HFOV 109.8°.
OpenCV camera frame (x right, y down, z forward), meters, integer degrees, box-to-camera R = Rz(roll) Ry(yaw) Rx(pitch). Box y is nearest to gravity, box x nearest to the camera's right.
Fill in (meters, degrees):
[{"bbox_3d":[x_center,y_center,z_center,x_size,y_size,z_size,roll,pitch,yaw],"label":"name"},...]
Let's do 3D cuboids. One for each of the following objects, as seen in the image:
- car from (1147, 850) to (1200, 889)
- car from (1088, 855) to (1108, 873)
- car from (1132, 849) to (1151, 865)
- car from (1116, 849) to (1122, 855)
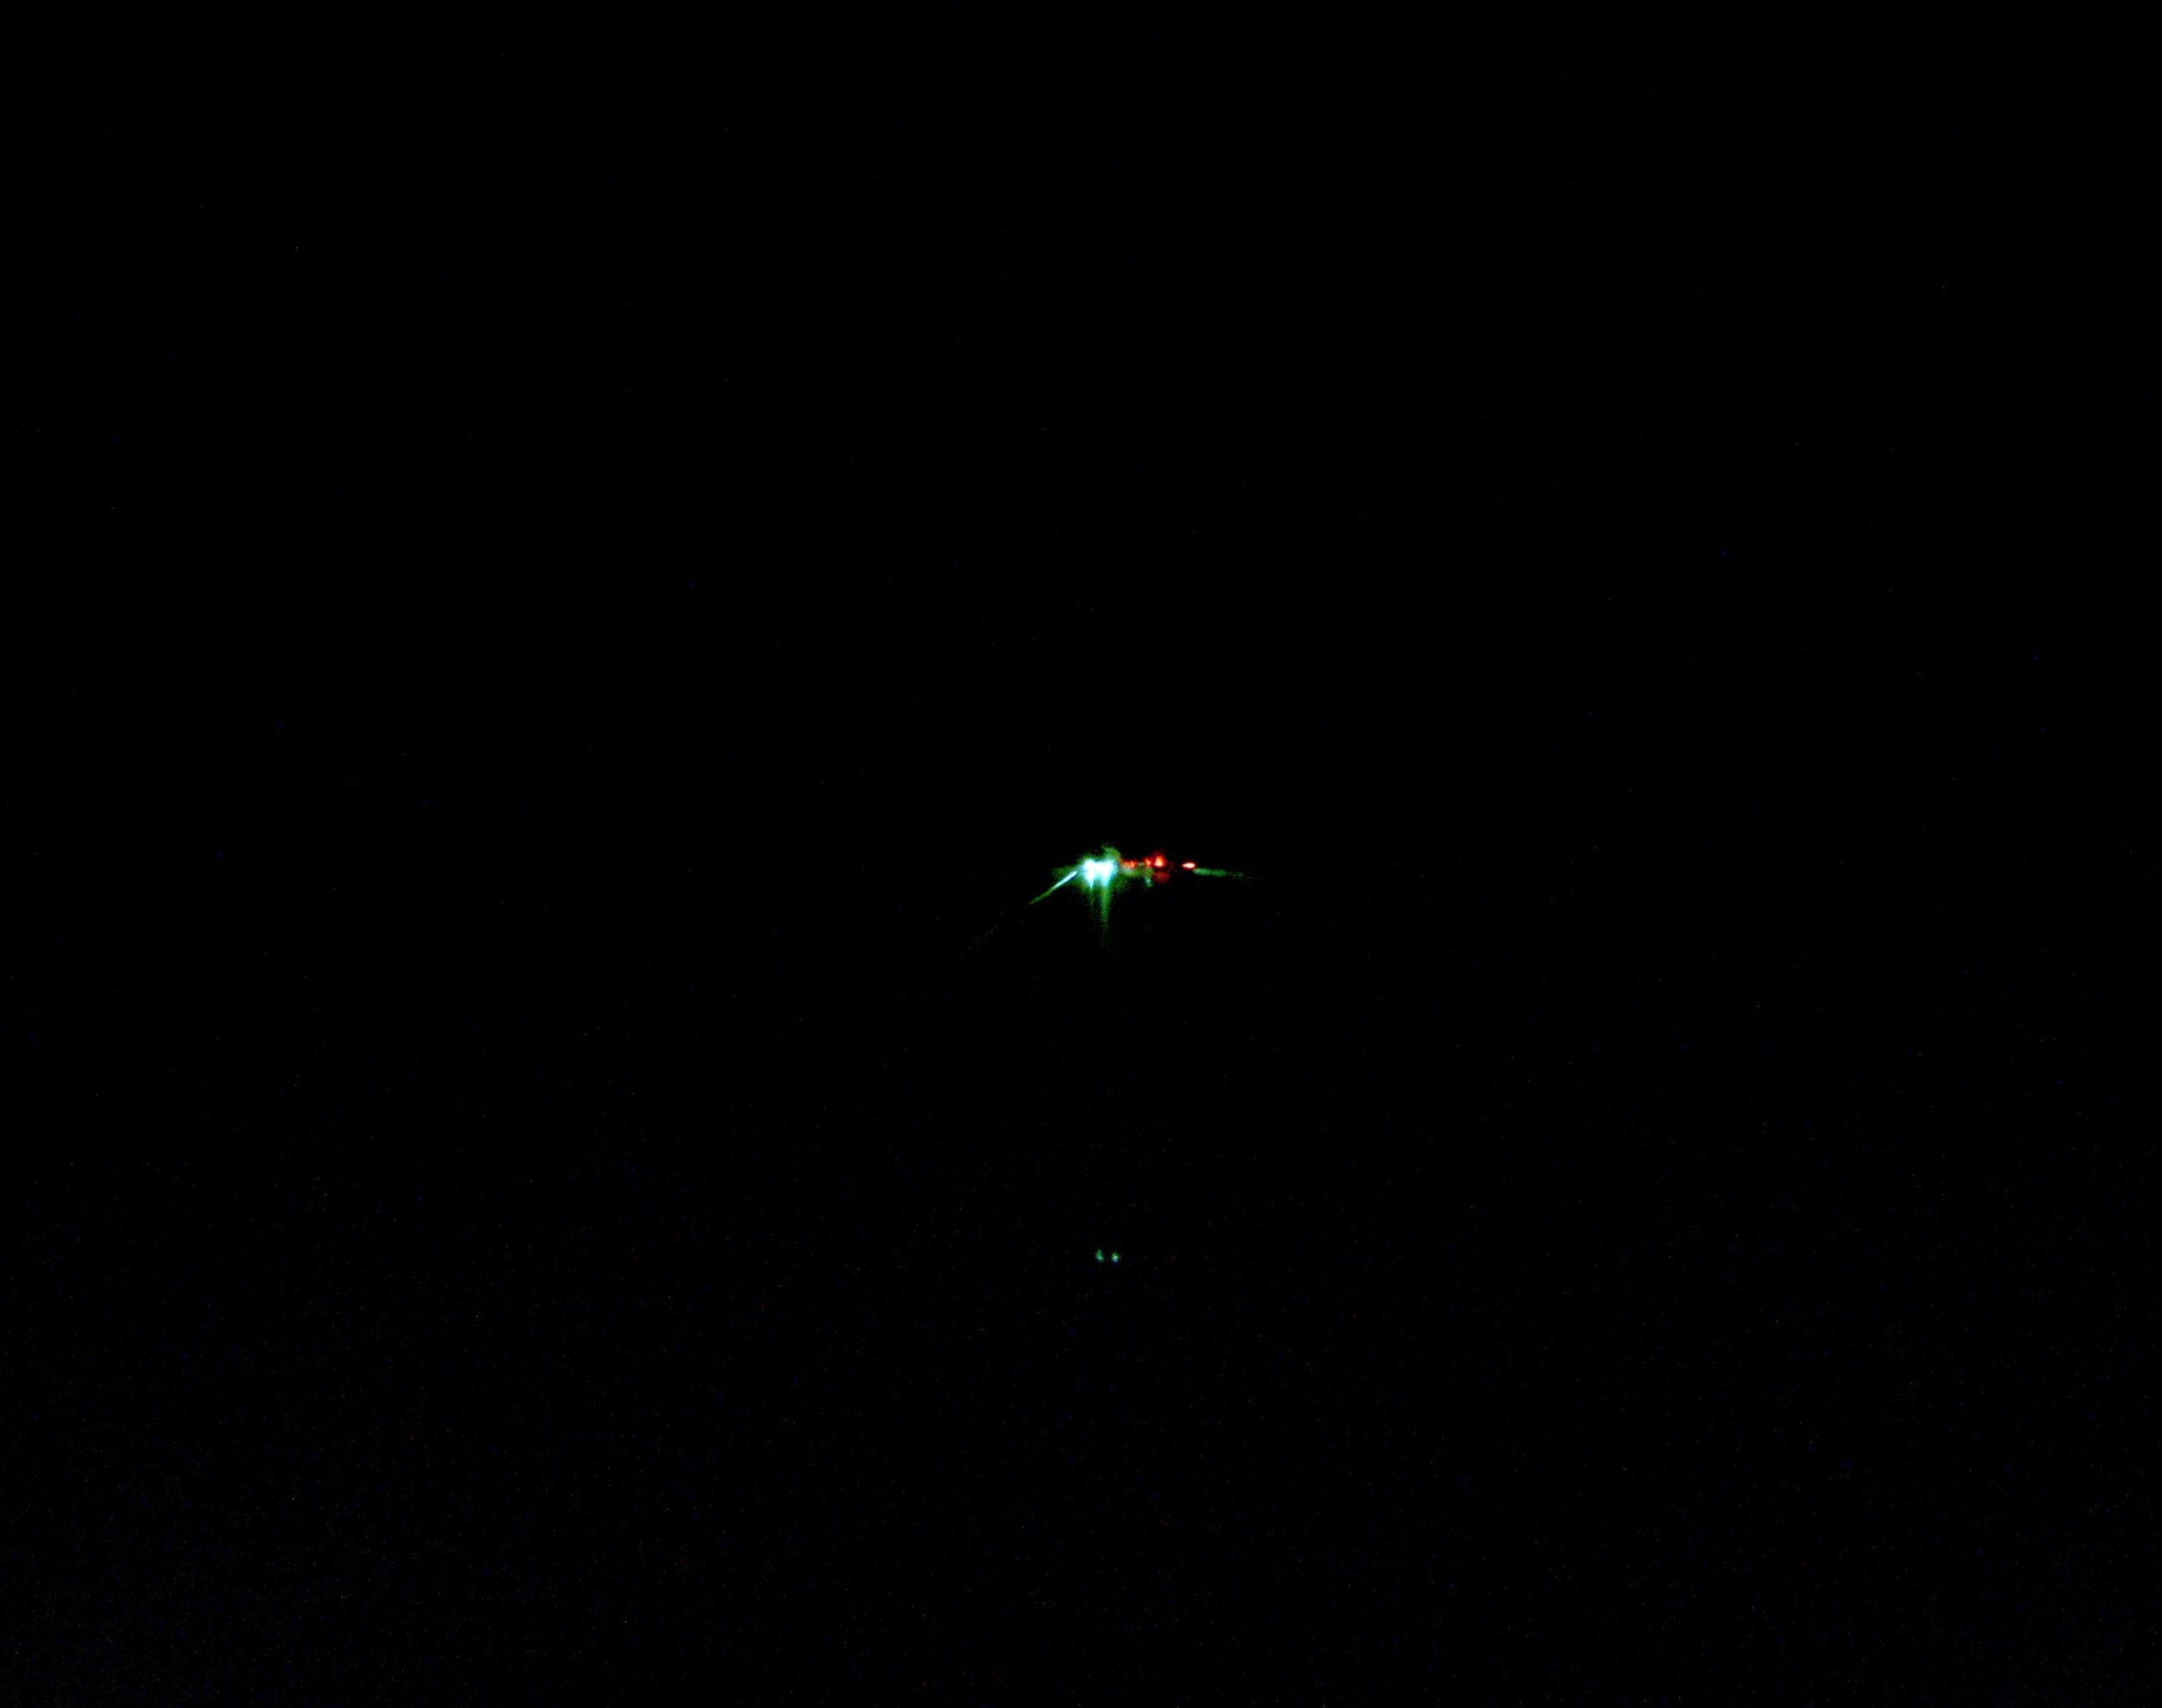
[{"bbox_3d":[3.943,0.627,32.917,1.822,1.546,3.871,-1,1,0],"label":"car"},{"bbox_3d":[1.817,1.032,81.368,1.998,1.724,4.000,-3,1,2],"label":"car"},{"bbox_3d":[5.748,0.238,72.526,1.585,1.377,3.585,-3,1,2],"label":"car"},{"bbox_3d":[10.780,-0.640,215.773,1.818,1.724,4.000,-3,1,2],"label":"car"}]
